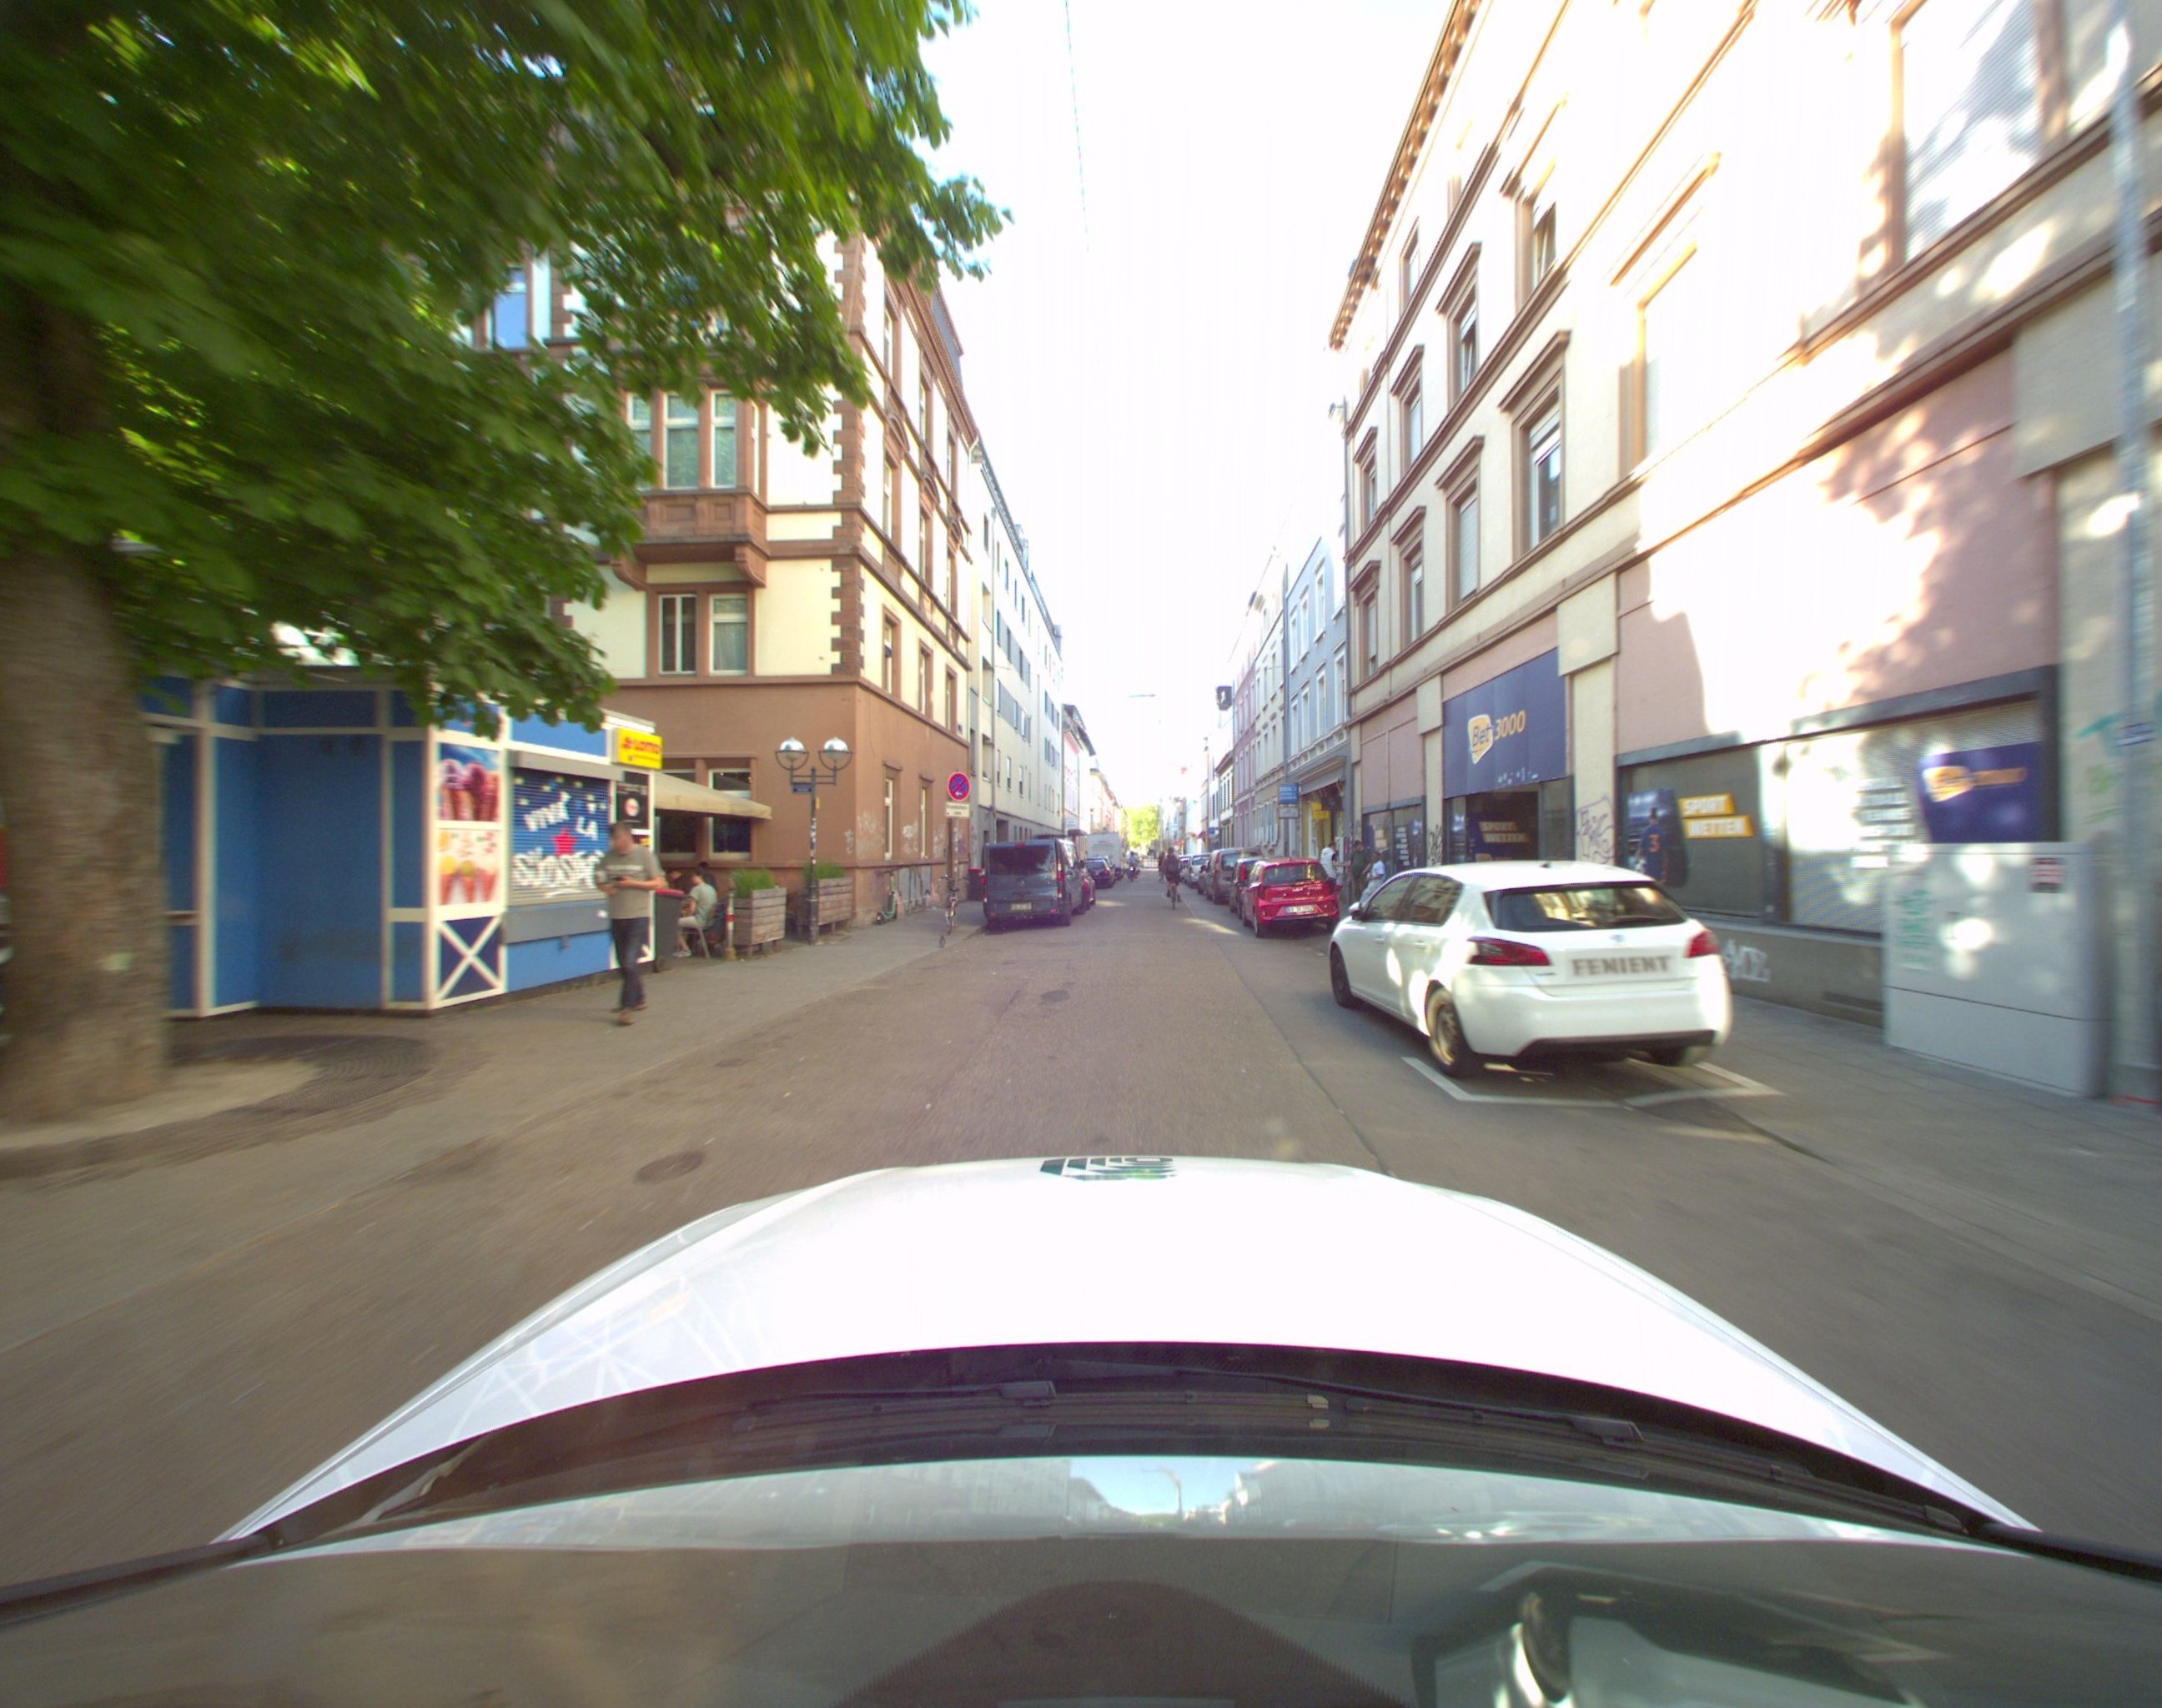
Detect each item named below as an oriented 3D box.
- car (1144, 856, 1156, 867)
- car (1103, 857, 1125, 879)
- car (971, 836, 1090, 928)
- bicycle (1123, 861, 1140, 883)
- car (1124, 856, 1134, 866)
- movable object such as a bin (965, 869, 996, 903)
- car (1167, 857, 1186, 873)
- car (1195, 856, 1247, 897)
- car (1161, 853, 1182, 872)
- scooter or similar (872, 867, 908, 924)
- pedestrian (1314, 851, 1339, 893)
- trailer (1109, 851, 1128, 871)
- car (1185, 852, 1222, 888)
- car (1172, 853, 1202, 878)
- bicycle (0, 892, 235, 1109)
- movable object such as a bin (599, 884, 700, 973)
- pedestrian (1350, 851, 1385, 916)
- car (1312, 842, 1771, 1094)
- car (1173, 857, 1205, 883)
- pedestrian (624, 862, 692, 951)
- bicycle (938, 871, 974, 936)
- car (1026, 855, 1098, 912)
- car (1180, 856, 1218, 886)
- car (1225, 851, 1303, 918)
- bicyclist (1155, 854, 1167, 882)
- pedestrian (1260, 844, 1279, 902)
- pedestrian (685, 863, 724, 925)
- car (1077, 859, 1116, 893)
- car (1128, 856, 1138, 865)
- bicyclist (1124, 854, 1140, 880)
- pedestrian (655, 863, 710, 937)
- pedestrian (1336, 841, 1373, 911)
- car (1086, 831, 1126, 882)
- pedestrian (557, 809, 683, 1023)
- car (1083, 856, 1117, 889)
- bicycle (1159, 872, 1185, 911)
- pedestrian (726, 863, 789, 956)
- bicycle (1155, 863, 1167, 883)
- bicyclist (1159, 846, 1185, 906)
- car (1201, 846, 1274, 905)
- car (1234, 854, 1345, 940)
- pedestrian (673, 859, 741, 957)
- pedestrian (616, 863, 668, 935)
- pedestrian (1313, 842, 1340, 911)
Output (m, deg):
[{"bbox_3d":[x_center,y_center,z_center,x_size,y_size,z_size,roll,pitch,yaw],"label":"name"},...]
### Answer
[{"bbox_3d":[9.938,1.127,117.036,1.604,1.560,3.614,0,0,4],"label":"car"},{"bbox_3d":[2.940,1.192,71.569,1.745,1.816,4.082,-2,-1,3],"label":"car"},{"bbox_3d":[-1.037,0.574,19.720,2.010,1.879,5.305,1,0,6],"label":"car"},{"bbox_3d":[3.248,1.145,51.879,0.972,1.314,2.559,-1,0,5],"label":"bicycle"},{"bbox_3d":[8.289,1.163,140.321,1.742,1.683,3.800,-1,-1,4],"label":"car"},{"bbox_3d":[-3.305,1.048,26.830,0.752,1.067,0.655,1,-1,24],"label":"movable object such as a bin"},{"bbox_3d":[9.184,1.036,78.261,1.741,1.487,3.805,-1,-1,6],"label":"car"},{"bbox_3d":[5.572,0.884,32.654,1.546,1.511,3.613,1,-1,2],"label":"car"},{"bbox_3d":[9.243,0.847,83.340,1.743,1.879,3.974,-1,-1,2],"label":"car"},{"bbox_3d":[-4.264,0.912,18.234,0.346,1.216,1.393,1,-1,4],"label":"scooter or similar"},{"bbox_3d":[7.271,0.541,24.143,0.525,1.222,0.517,0,-1,44],"label":"pedestrian"},{"bbox_3d":[3.987,0.755,86.986,1.873,2.092,3.741,-1,-1,4],"label":"trailer"},{"bbox_3d":[6.078,0.782,40.730,1.549,1.712,3.562,1,-1,4],"label":"car"},{"bbox_3d":[7.751,0.814,59.624,1.909,1.706,4.371,0,0,4],"label":"car"},{"bbox_3d":[-6.367,0.857,4.986,0.497,1.131,2.031,1,0,-9],"label":"bicycle"},{"bbox_3d":[-5.672,0.964,10.752,0.866,1.086,0.775,1,-1,5],"label":"movable object such as a bin"},{"bbox_3d":[6.965,0.711,19.800,0.585,1.529,0.658,1,-1,-1],"label":"pedestrian"},{"bbox_3d":[3.430,0.720,7.093,1.780,1.516,4.138,1,-1,2],"label":"car"},{"bbox_3d":[6.818,0.978,51.636,1.679,1.543,4.050,-2,-1,4],"label":"car"},{"bbox_3d":[-6.754,0.826,13.028,0.702,1.375,0.617,1,-1,3],"label":"pedestrian"},{"bbox_3d":[-2.588,0.977,16.717,0.550,1.216,1.979,1,-1,-13],"label":"bicycle"},{"bbox_3d":[-0.494,0.862,24.926,1.743,1.522,3.873,-3,-1,4],"label":"car"},{"bbox_3d":[6.547,0.918,45.603,1.689,1.543,4.633,-2,-1,4],"label":"car"},{"bbox_3d":[4.736,0.757,21.450,1.562,1.557,3.319,-3,-1,6],"label":"car"},{"bbox_3d":[4.694,0.819,47.807,0.668,1.567,0.717,1,-1,2],"label":"bicyclist"},{"bbox_3d":[5.676,0.569,24.501,0.439,1.704,0.655,1,-1,5],"label":"pedestrian"},{"bbox_3d":[-7.554,0.802,16.355,0.441,1.186,0.421,5,-2,4],"label":"pedestrian"},{"bbox_3d":[0.826,1.048,41.058,1.709,1.478,4.504,-3,0,4],"label":"car"},{"bbox_3d":[10.048,1.269,157.575,1.742,1.821,3.800,-1,-1,4],"label":"car"},{"bbox_3d":[3.221,0.835,51.645,0.945,1.628,0.954,-2,-1,5],"label":"bicyclist"},{"bbox_3d":[-7.628,0.864,15.606,0.674,1.361,0.692,0,0,4],"label":"pedestrian"},{"bbox_3d":[6.898,0.555,20.538,0.628,1.740,0.657,1,-1,-9],"label":"pedestrian"},{"bbox_3d":[1.846,0.195,57.599,2.332,3.291,7.163,-2,-1,5],"label":"car"},{"bbox_3d":[-4.188,0.539,7.441,0.644,1.834,0.698,2,-1,4],"label":"pedestrian"},{"bbox_3d":[1.144,1.032,46.994,1.709,1.650,4.250,-3,0,4],"label":"car"},{"bbox_3d":[2.625,1.063,23.637,0.674,1.074,1.943,1,-1,4],"label":"bicycle"},{"bbox_3d":[-5.171,0.872,13.033,0.702,1.445,0.617,1,-1,3],"label":"pedestrian"},{"bbox_3d":[4.694,1.123,47.792,0.645,1.129,2.138,1,-1,4],"label":"bicycle"},{"bbox_3d":[2.635,0.634,23.630,0.665,1.677,1.098,1,-1,4],"label":"bicyclist"},{"bbox_3d":[5.174,0.700,27.455,1.891,1.793,4.319,1,-1,4],"label":"car"},{"bbox_3d":[4.199,0.813,16.851,1.599,1.572,3.557,1,-1,4],"label":"car"},{"bbox_3d":[-5.691,0.803,12.423,0.702,1.445,0.617,1,-1,3],"label":"pedestrian"},{"bbox_3d":[-8.575,0.861,15.928,0.615,1.361,0.692,0,0,4],"label":"pedestrian"},{"bbox_3d":[6.299,0.580,20.882,0.559,1.740,0.428,1,-1,2],"label":"pedestrian"}]
